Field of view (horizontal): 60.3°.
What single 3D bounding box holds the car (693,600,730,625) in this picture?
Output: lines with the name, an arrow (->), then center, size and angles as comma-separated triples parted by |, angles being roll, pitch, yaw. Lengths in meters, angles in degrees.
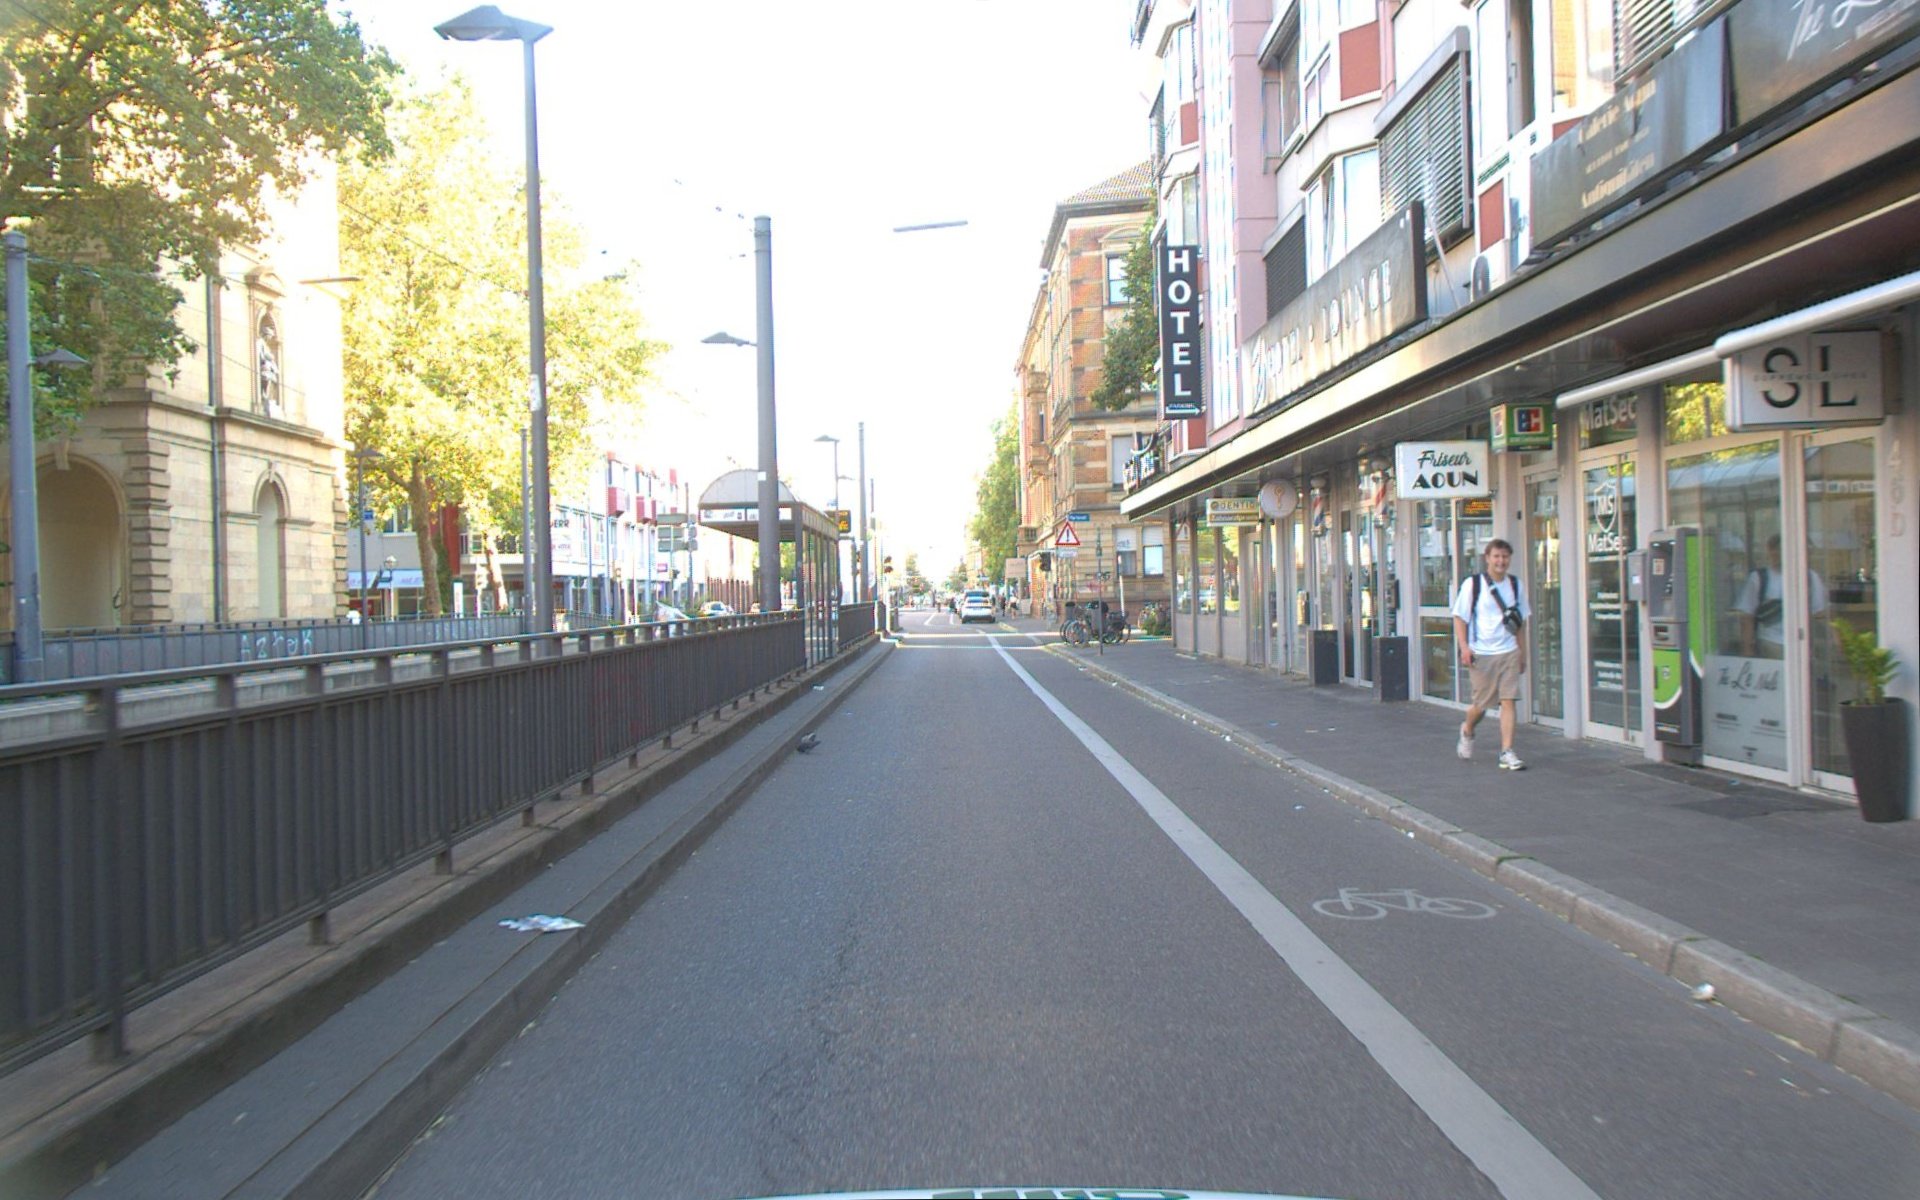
car -> -17.888, 0.896, 119.101 | 2.048, 1.743, 4.817 | 0, -1, -1

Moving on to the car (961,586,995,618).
car -> 1.034, 0.107, 95.566 | 1.926, 1.802, 4.875 | 0, 0, 0

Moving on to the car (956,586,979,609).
car -> 0.699, -0.229, 153.415 | 1.931, 2.049, 4.558 | -3, 0, 0

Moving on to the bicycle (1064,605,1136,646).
bicycle -> 3.819, 0.691, 45.211 | 1.875, 1.066, 0.680 | -1, 0, -4

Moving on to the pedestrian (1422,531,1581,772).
pedestrian -> 4.228, 0.392, 12.990 | 0.782, 1.752, 1.061 | -4, -1, 1

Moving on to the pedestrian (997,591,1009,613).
pedestrian -> 3.229, 0.124, 123.655 | 0.760, 1.594, 0.914 | -5, 0, 1

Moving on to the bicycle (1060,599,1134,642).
bicycle -> 3.791, 0.570, 45.868 | 1.931, 1.124, 0.614 | -2, 0, -4

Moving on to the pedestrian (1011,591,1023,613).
pedestrian -> 4.238, 0.140, 123.632 | 0.760, 1.594, 0.914 | -5, 0, 1

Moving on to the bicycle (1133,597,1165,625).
bicycle -> 7.273, 0.410, 63.612 | 0.444, 1.042, 1.897 | -1, 0, -19

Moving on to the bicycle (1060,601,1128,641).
bicycle -> 3.776, 0.591, 46.598 | 1.797, 1.072, 0.717 | -1, 0, -4

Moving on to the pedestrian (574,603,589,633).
pedestrian -> -22.186, 1.048, 97.017 | 0.728, 1.742, 0.615 | -1, 0, -4

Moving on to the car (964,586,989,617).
car -> 1.203, 0.120, 118.387 | 1.670, 2.157, 3.707 | -1, -1, 2

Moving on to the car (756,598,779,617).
car -> -17.784, 0.677, 153.306 | 1.832, 1.628, 4.251 | -1, 0, -3

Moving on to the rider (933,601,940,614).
rider -> -2.698, 0.829, 189.522 | 0.865, 1.507, 0.713 | 0, 0, 0

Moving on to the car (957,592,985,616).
car -> 0.834, 0.304, 123.762 | 1.910, 1.819, 5.179 | 0, 0, -2

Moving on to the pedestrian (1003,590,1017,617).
pedestrian -> 3.160, 0.217, 103.895 | 0.760, 1.594, 0.914 | -5, 0, 2
